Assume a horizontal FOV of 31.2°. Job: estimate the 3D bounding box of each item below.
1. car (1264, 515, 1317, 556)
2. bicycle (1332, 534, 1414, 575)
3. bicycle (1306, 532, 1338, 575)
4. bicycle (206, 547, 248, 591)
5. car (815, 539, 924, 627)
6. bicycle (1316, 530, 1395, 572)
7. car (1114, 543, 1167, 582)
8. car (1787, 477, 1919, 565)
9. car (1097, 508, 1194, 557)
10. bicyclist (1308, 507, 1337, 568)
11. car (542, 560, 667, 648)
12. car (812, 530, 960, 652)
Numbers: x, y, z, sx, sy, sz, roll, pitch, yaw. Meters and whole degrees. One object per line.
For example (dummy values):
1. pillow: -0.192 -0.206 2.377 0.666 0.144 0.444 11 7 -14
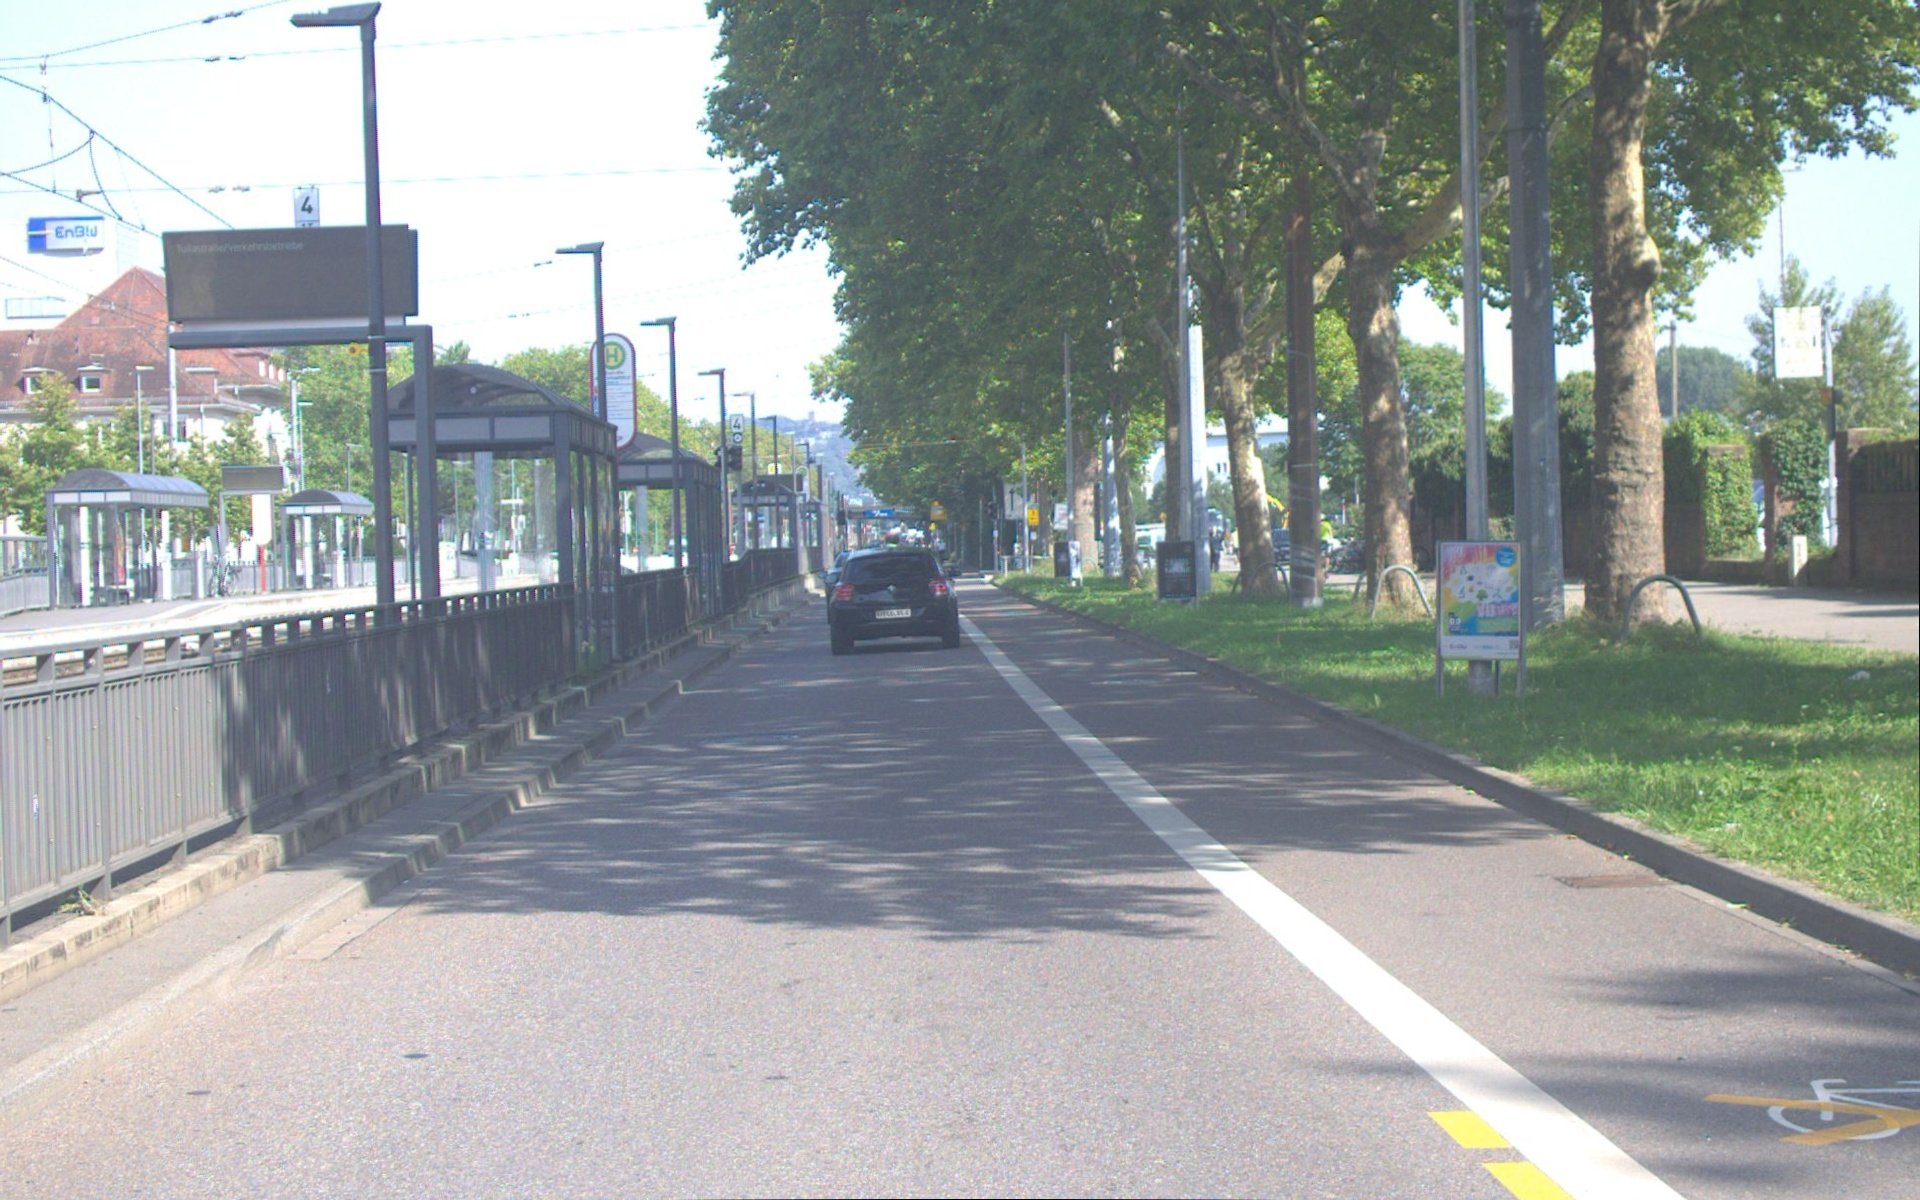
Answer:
1. car: 13.154 -2.564 136.967 1.607 1.570 3.797 -3 1 -1
2. bicycle: 11.609 -1.285 96.615 2.173 1.073 0.743 -2 1 -2
3. bicycle: 8.748 -1.122 83.039 0.548 1.003 1.713 -2 1 -1
4. bicycle: -19.511 -0.825 91.558 0.471 1.143 1.483 -1 1 14
5. car: -1.817 -0.359 68.610 1.973 1.532 4.000 -5 1 -2
6. bicycle: 11.454 -1.421 99.640 2.173 1.073 0.743 -4 1 3
7. car: 7.113 -1.491 135.730 1.728 1.443 4.551 -3 1 -1
8. car: 19.927 -1.708 72.286 4.521 1.728 1.910 -2 1 -3
9. car: 8.027 -2.931 148.997 4.103 1.912 1.848 -3 1 2
10. bicyclist: 8.744 -1.515 82.950 0.548 1.448 0.842 -2 1 -1
11. car: -7.037 0.082 68.396 1.993 1.554 4.000 -5 0 -1
12. car: -1.054 -0.153 48.292 1.907 1.532 4.000 -3 1 -2
